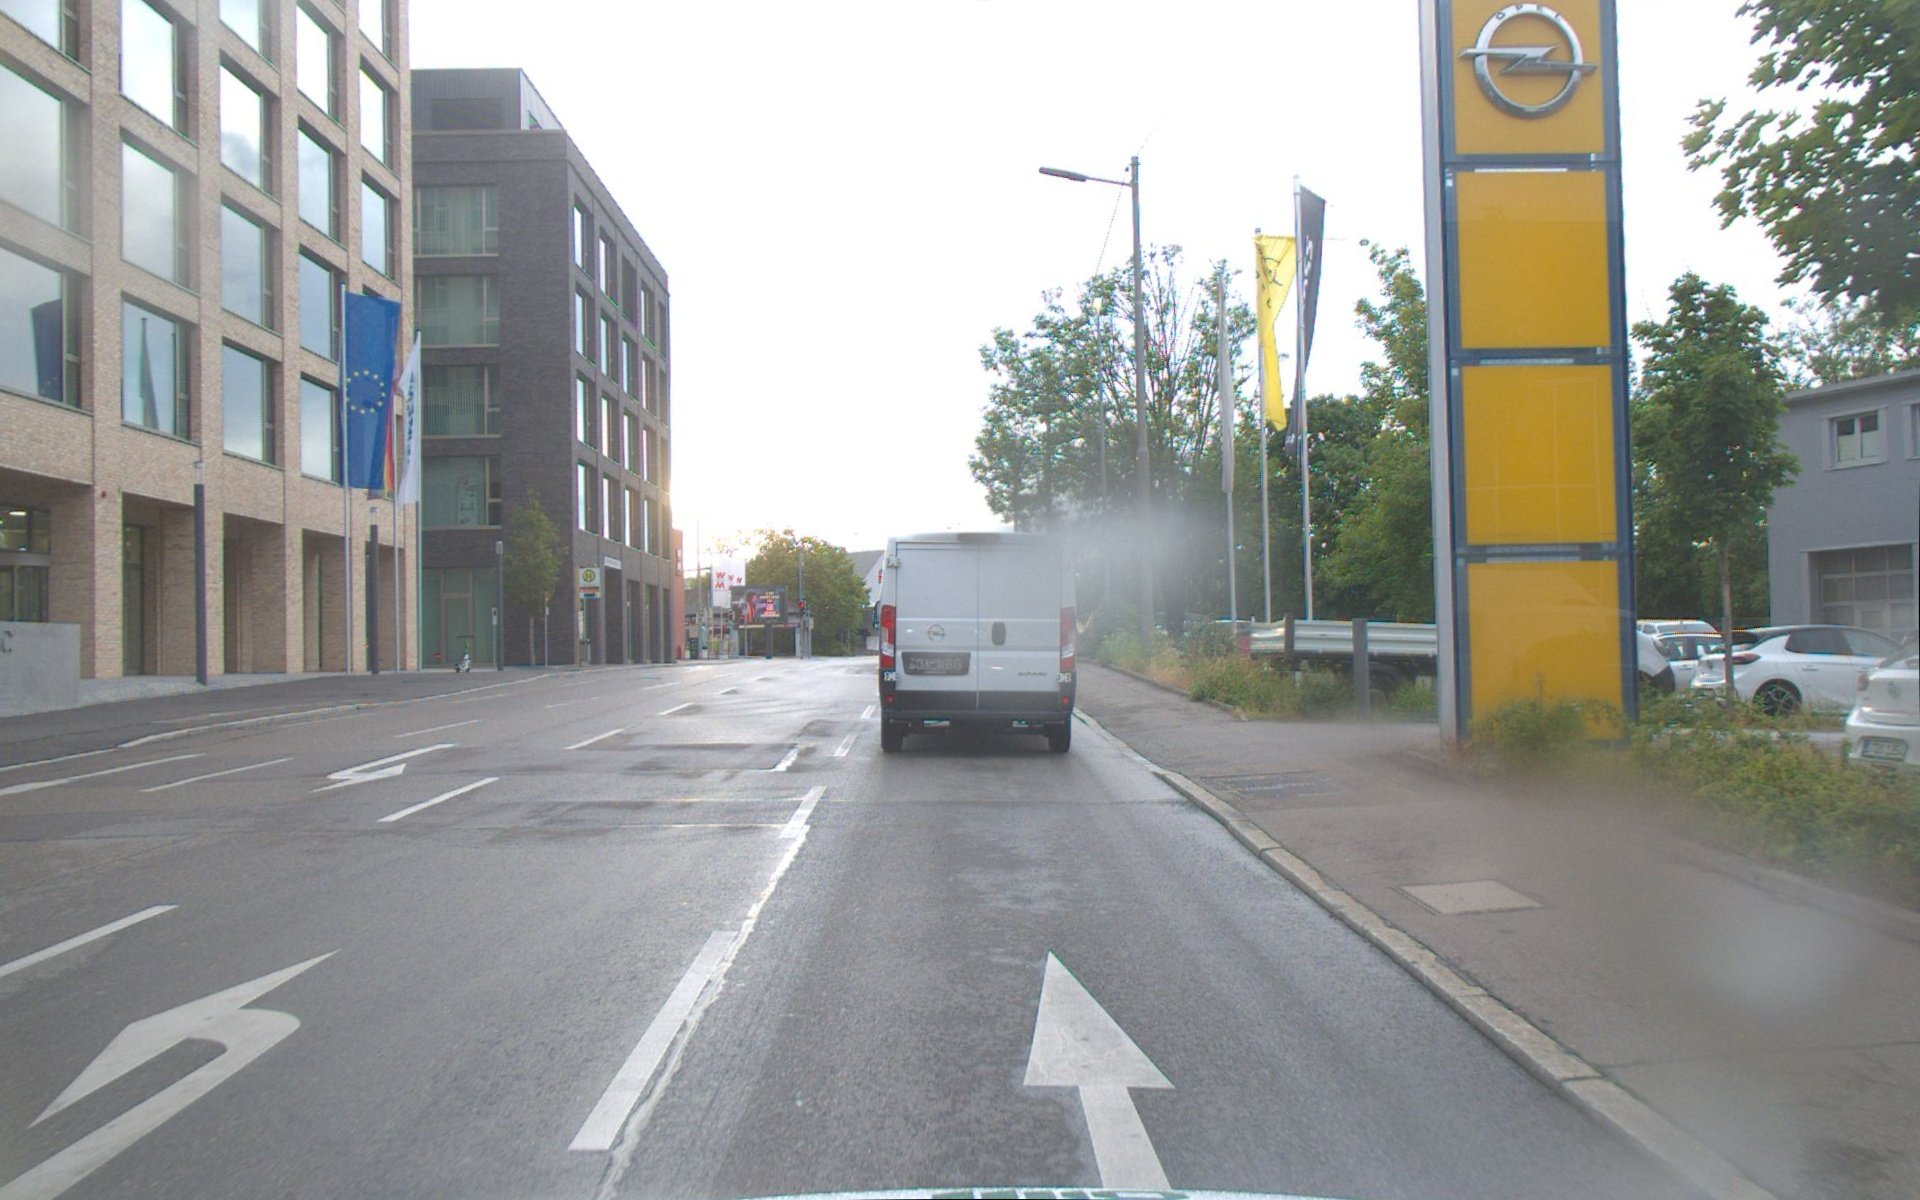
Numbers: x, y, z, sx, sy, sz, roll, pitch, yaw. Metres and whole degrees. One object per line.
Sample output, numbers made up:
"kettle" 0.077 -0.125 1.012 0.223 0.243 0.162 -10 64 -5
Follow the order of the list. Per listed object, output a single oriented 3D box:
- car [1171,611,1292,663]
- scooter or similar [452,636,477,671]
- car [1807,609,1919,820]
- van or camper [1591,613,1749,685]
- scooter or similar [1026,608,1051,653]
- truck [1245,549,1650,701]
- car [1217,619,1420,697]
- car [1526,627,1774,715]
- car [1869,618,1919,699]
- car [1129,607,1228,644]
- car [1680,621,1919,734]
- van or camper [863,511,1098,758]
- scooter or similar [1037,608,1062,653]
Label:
"car" 9.855 1.326 60.143 3.911 1.548 1.801 -5 0 -6
"scooter or similar" -15.499 1.682 51.720 0.343 1.090 1.428 0 -2 0
"car" 8.670 0.789 12.171 3.905 1.453 1.895 -1 0 0
"van or camper" 19.420 1.284 45.546 1.953 1.819 5.615 0 0 0
"scooter or similar" 2.838 1.084 59.769 0.428 1.615 1.264 0 0 -23
"truck" 6.805 0.326 23.501 5.045 2.049 2.344 0 0 -3
"car" 7.781 1.247 36.134 4.045 1.617 1.760 0 0 -1
"car" 11.863 1.202 28.598 3.614 1.443 1.630 0 0 2
"car" 22.067 1.193 35.987 3.928 1.629 1.830 -3 0 -20
"car" 9.359 1.068 71.012 3.910 1.548 1.801 0 0 -6
"car" 12.487 1.084 23.750 3.615 1.546 1.557 0 -1 0
"van or camper" 0.201 0.331 18.693 2.292 2.398 5.199 0 0 0
"scooter or similar" 3.245 1.095 59.952 0.428 1.592 1.264 0 0 -22
